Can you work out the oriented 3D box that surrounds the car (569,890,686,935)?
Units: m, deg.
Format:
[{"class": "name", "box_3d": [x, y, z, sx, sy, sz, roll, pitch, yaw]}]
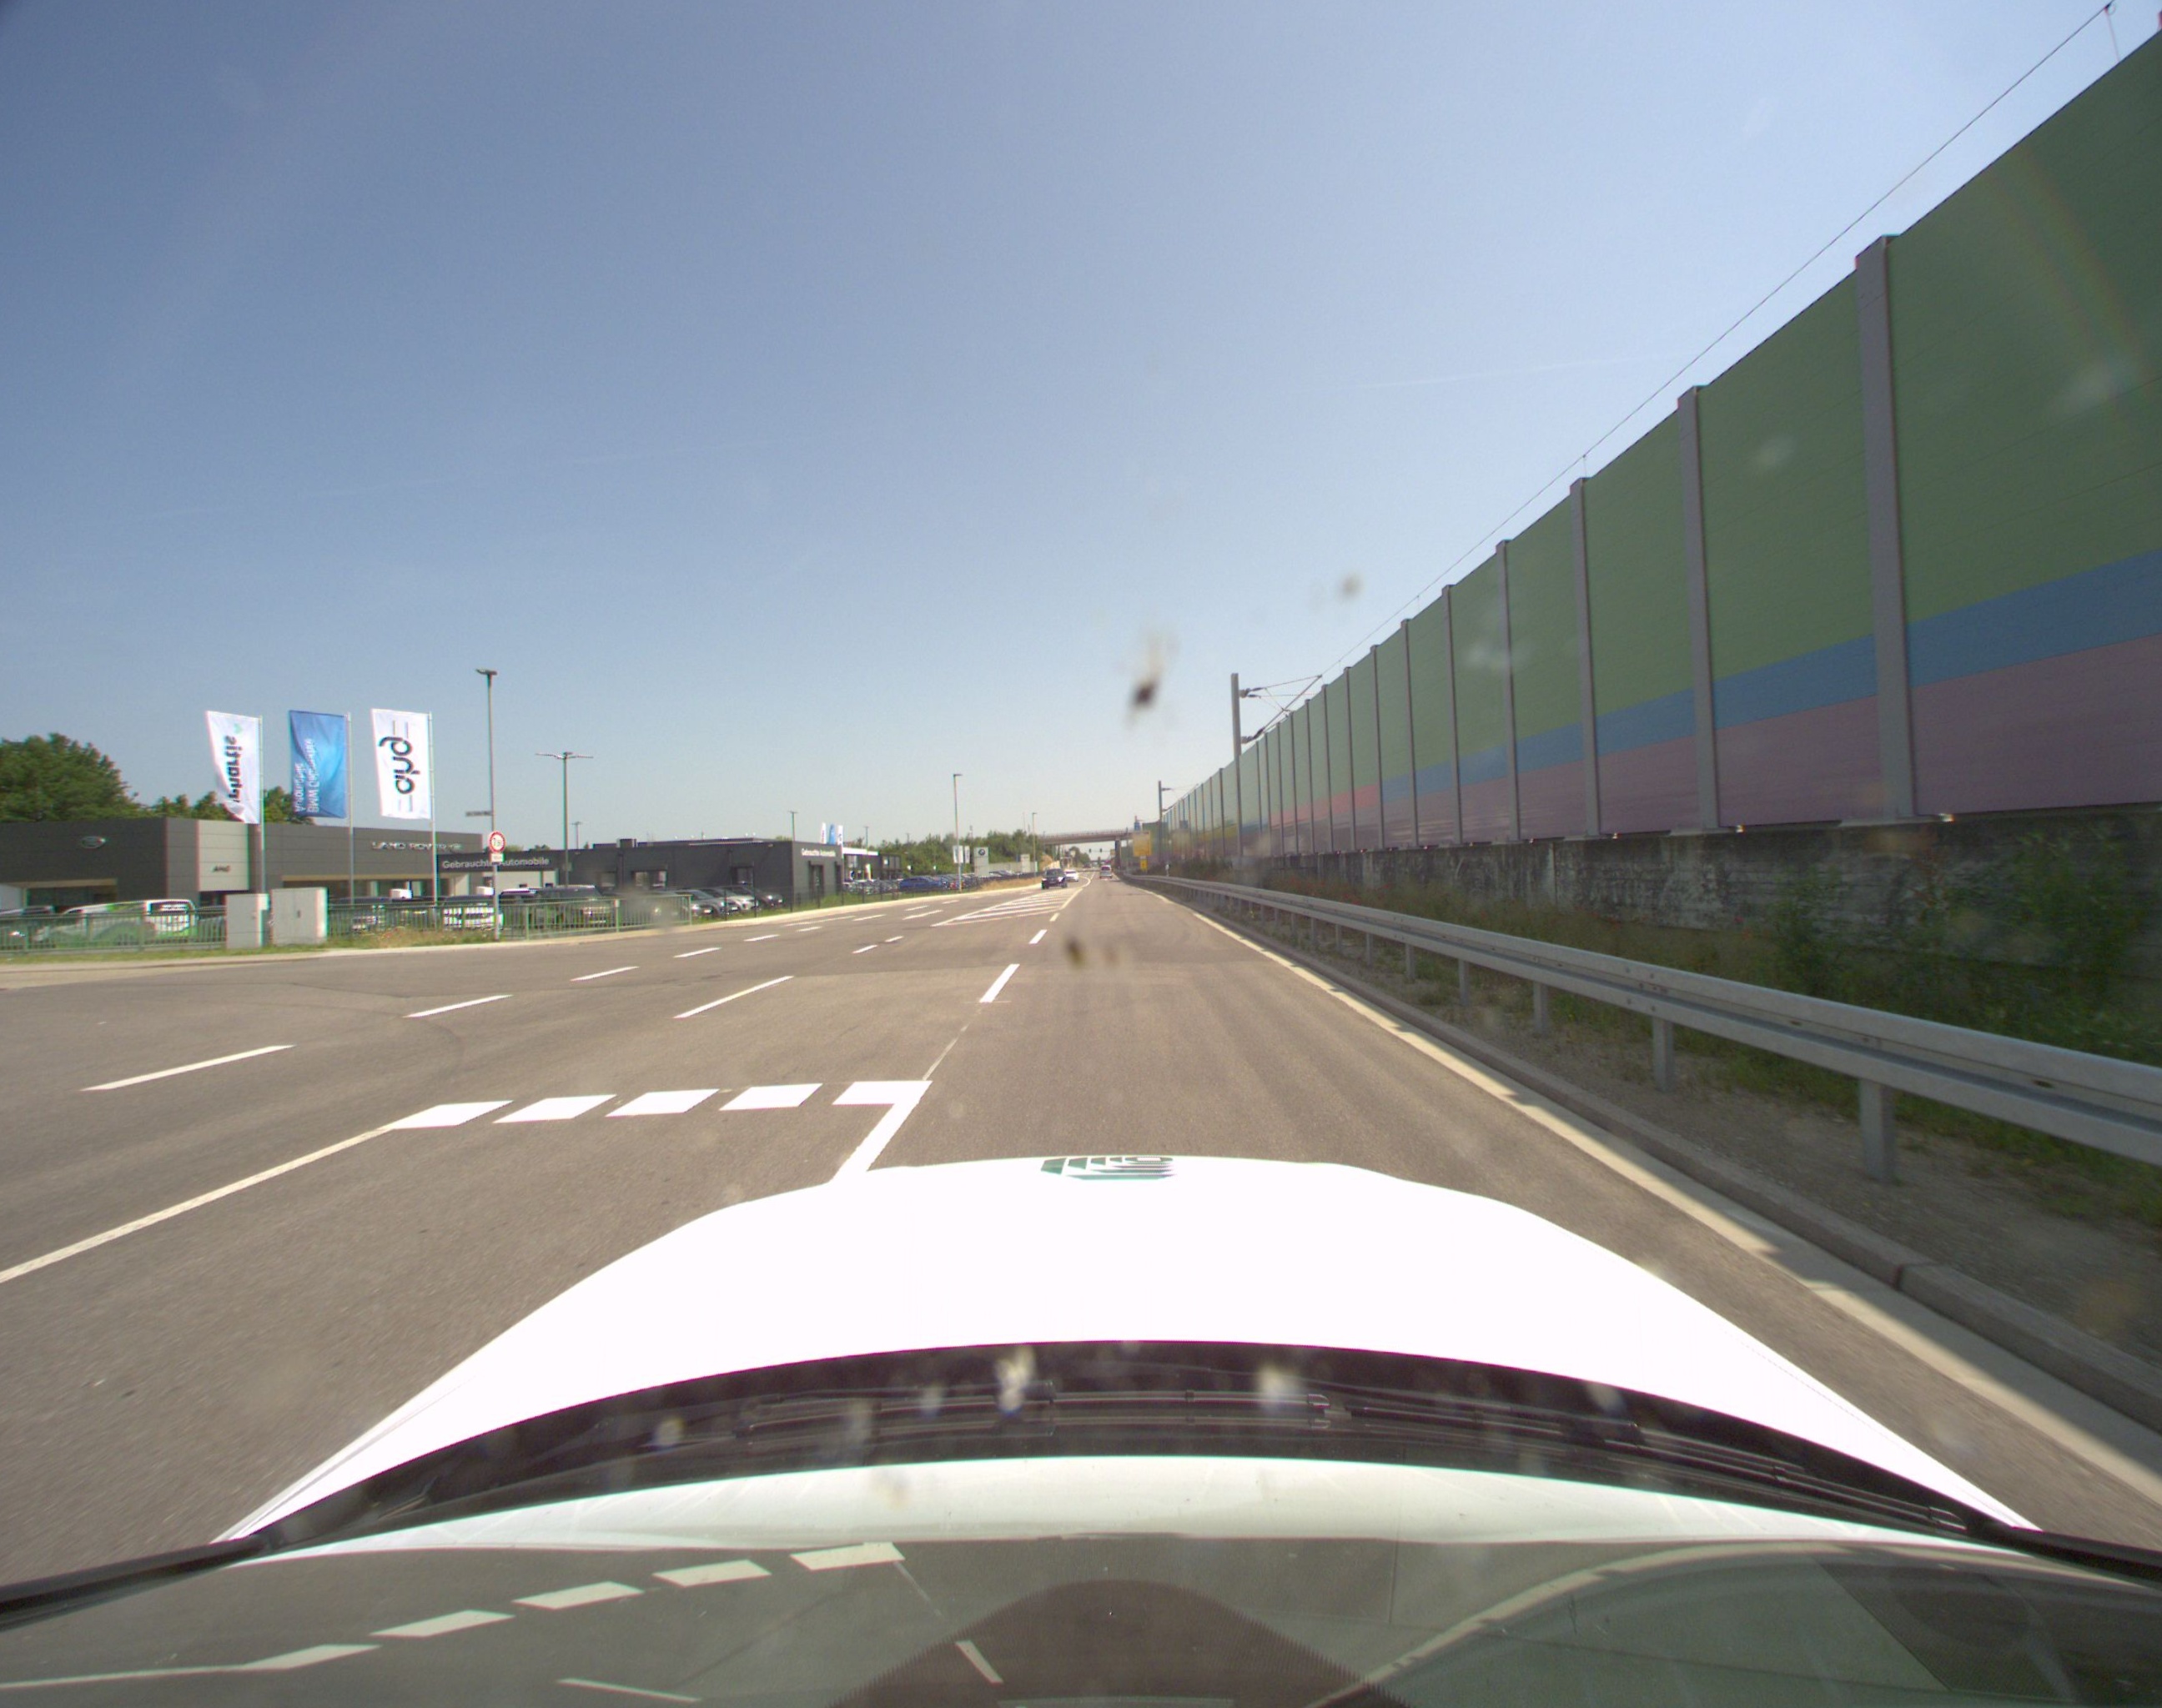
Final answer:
[{"class": "car", "box_3d": [-19.766, 2.521, 35.610, 3.975, 1.632, 1.886, -3, -1, -1]}]

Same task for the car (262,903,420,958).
[{"class": "car", "box_3d": [-27.433, 2.801, 30.295, 3.975, 1.665, 1.976, -3, 0, -1]}]

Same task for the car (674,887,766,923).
[{"class": "car", "box_3d": [-19.318, 2.699, 43.743, 3.972, 1.632, 1.968, -3, 0, 1]}]

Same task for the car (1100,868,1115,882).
[{"class": "car", "box_3d": [3.721, 2.941, 113.643, 1.985, 1.757, 4.003, -2, -1, 3]}]

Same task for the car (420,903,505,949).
[{"class": "car", "box_3d": [-23.971, 2.730, 31.501, 4.452, 1.562, 1.938, -4, -2, 44]}]

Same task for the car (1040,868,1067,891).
[{"class": "car", "box_3d": [-2.194, 2.023, 66.406, 1.870, 1.673, 4.292, -3, -1, 1]}]

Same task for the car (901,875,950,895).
[{"class": "car", "box_3d": [-13.933, 2.761, 73.089, 3.975, 1.480, 1.910, -3, 0, -1]}]

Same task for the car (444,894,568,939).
[{"class": "car", "box_3d": [-25.212, 2.721, 35.814, 3.975, 1.665, 1.976, -3, 0, -1]}]

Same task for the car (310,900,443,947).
[{"class": "car", "box_3d": [-30.812, 3.012, 35.704, 3.975, 1.665, 1.976, -3, 0, -1]}]

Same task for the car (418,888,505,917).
[{"class": "car", "box_3d": [-35.892, 2.814, 47.228, 3.673, 1.421, 1.685, -2, 0, -1]}]

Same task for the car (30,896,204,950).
[{"class": "car", "box_3d": [-37.306, 2.651, 31.612, 4.291, 1.734, 1.966, -2, 0, -1]}]

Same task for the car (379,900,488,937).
[{"class": "car", "box_3d": [-30.434, 3.008, 38.331, 3.673, 1.445, 1.685, -2, 0, -1]}]

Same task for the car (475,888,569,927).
[{"class": "car", "box_3d": [-30.292, 2.899, 44.216, 3.826, 1.828, 1.685, -2, -1, -1]}]

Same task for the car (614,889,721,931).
[{"class": "car", "box_3d": [-19.442, 2.619, 38.427, 3.975, 1.632, 1.976, -3, 0, -1]}]

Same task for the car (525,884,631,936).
[{"class": "car", "box_3d": [-19.862, 2.181, 32.080, 4.618, 1.865, 2.079, -3, -3, 38]}]

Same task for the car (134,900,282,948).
[{"class": "car", "box_3d": [-36.829, 2.944, 34.443, 3.975, 1.665, 1.976, -3, 0, -1]}]

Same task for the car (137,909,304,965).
[{"class": "car", "box_3d": [-31.753, 3.025, 30.145, 3.975, 1.665, 1.976, -3, 0, -1]}]

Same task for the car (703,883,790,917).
[{"class": "car", "box_3d": [-19.213, 2.628, 46.916, 4.136, 1.632, 1.822, -3, -1, -1]}]

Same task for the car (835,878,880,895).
[{"class": "car", "box_3d": [-22.769, 3.285, 83.170, 3.975, 1.494, 1.815, -3, 0, -1]}]

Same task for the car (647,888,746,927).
[{"class": "car", "box_3d": [-19.367, 2.680, 41.142, 3.975, 1.632, 1.976, -3, 0, -1]}]

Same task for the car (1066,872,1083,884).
[{"class": "car", "box_3d": [-0.811, 2.935, 100.243, 1.774, 1.416, 4.053, -3, -1, 3]}]

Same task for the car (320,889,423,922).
[{"class": "car", "box_3d": [-36.038, 2.618, 41.441, 3.673, 1.421, 1.685, -2, 0, -1]}]
